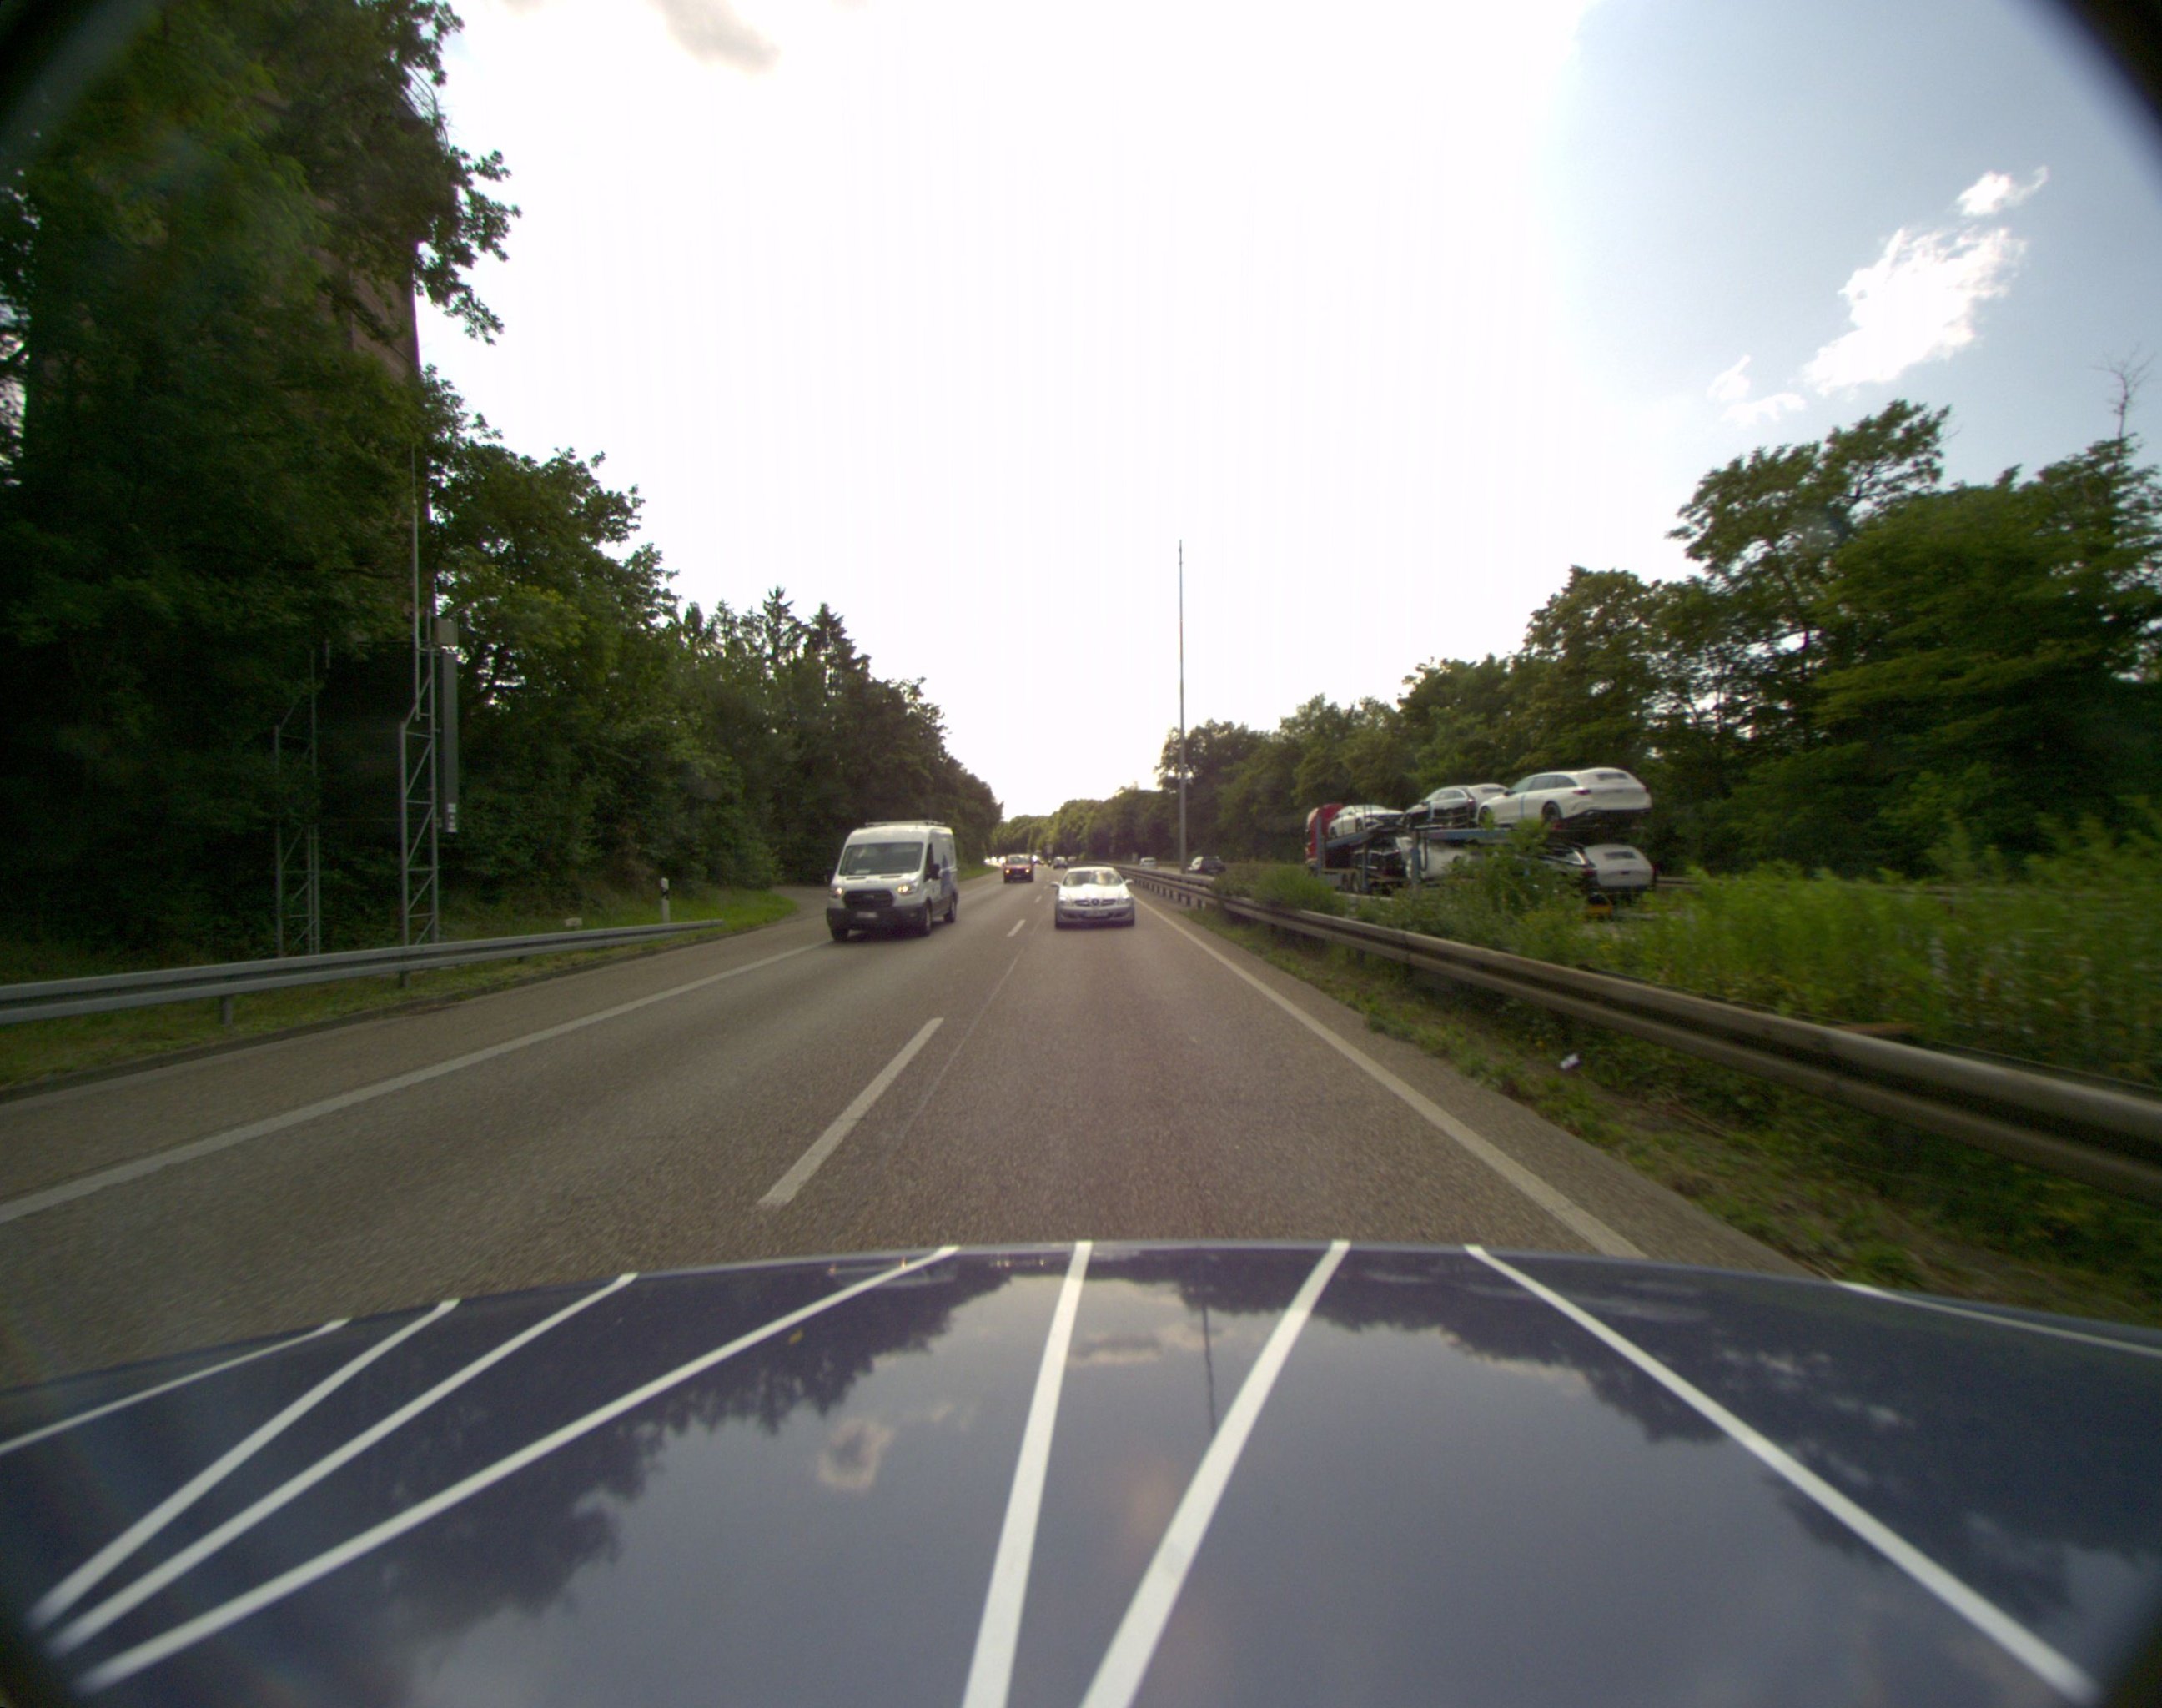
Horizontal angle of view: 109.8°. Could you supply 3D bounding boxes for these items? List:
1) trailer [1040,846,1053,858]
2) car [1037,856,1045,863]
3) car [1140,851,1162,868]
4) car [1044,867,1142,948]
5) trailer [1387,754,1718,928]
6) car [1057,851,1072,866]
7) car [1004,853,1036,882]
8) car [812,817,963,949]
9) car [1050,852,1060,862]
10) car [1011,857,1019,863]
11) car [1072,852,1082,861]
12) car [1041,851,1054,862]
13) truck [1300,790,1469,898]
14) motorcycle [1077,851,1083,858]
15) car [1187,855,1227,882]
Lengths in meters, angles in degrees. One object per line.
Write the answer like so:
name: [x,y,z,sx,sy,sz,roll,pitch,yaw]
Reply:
trailer: [-11.852,-0.767,257.580,3.415,4.056,12.971,-2,1,-6]
car: [-8.788,1.211,165.544,1.700,1.579,3.999,-1,0,-3]
car: [6.982,0.527,76.519,1.710,1.559,4.031,-1,0,-2]
car: [0.286,1.037,16.534,1.751,1.295,5.223,-2,0,2]
trailer: [12.474,-0.311,21.909,2.946,3.811,10.308,0,0,-1]
car: [-2.173,0.592,101.138,1.999,2.002,3.999,-1,0,-1]
car: [-4.089,0.882,51.471,1.909,1.795,4.394,-3,0,-3]
car: [-4.182,0.553,17.436,2.104,2.493,5.278,-3,0,-1]
car: [-4.383,0.536,127.771,1.473,1.560,3.293,-1,0,-4]
car: [-16.111,1.442,185.700,1.786,1.512,3.998,-1,0,-5]
car: [-0.801,0.584,164.917,1.850,1.808,5.476,-1,0,-3]
car: [-6.350,0.512,144.829,2.000,2.002,3.997,-1,0,-8]
truck: [12.300,-0.374,32.245,2.962,3.833,10.322,0,0,-1]
motorcycle: [-0.163,0.108,148.755,1.002,1.194,2.996,-1,0,-3]
car: [7.807,0.856,47.406,1.678,1.542,4.262,0,0,-1]
